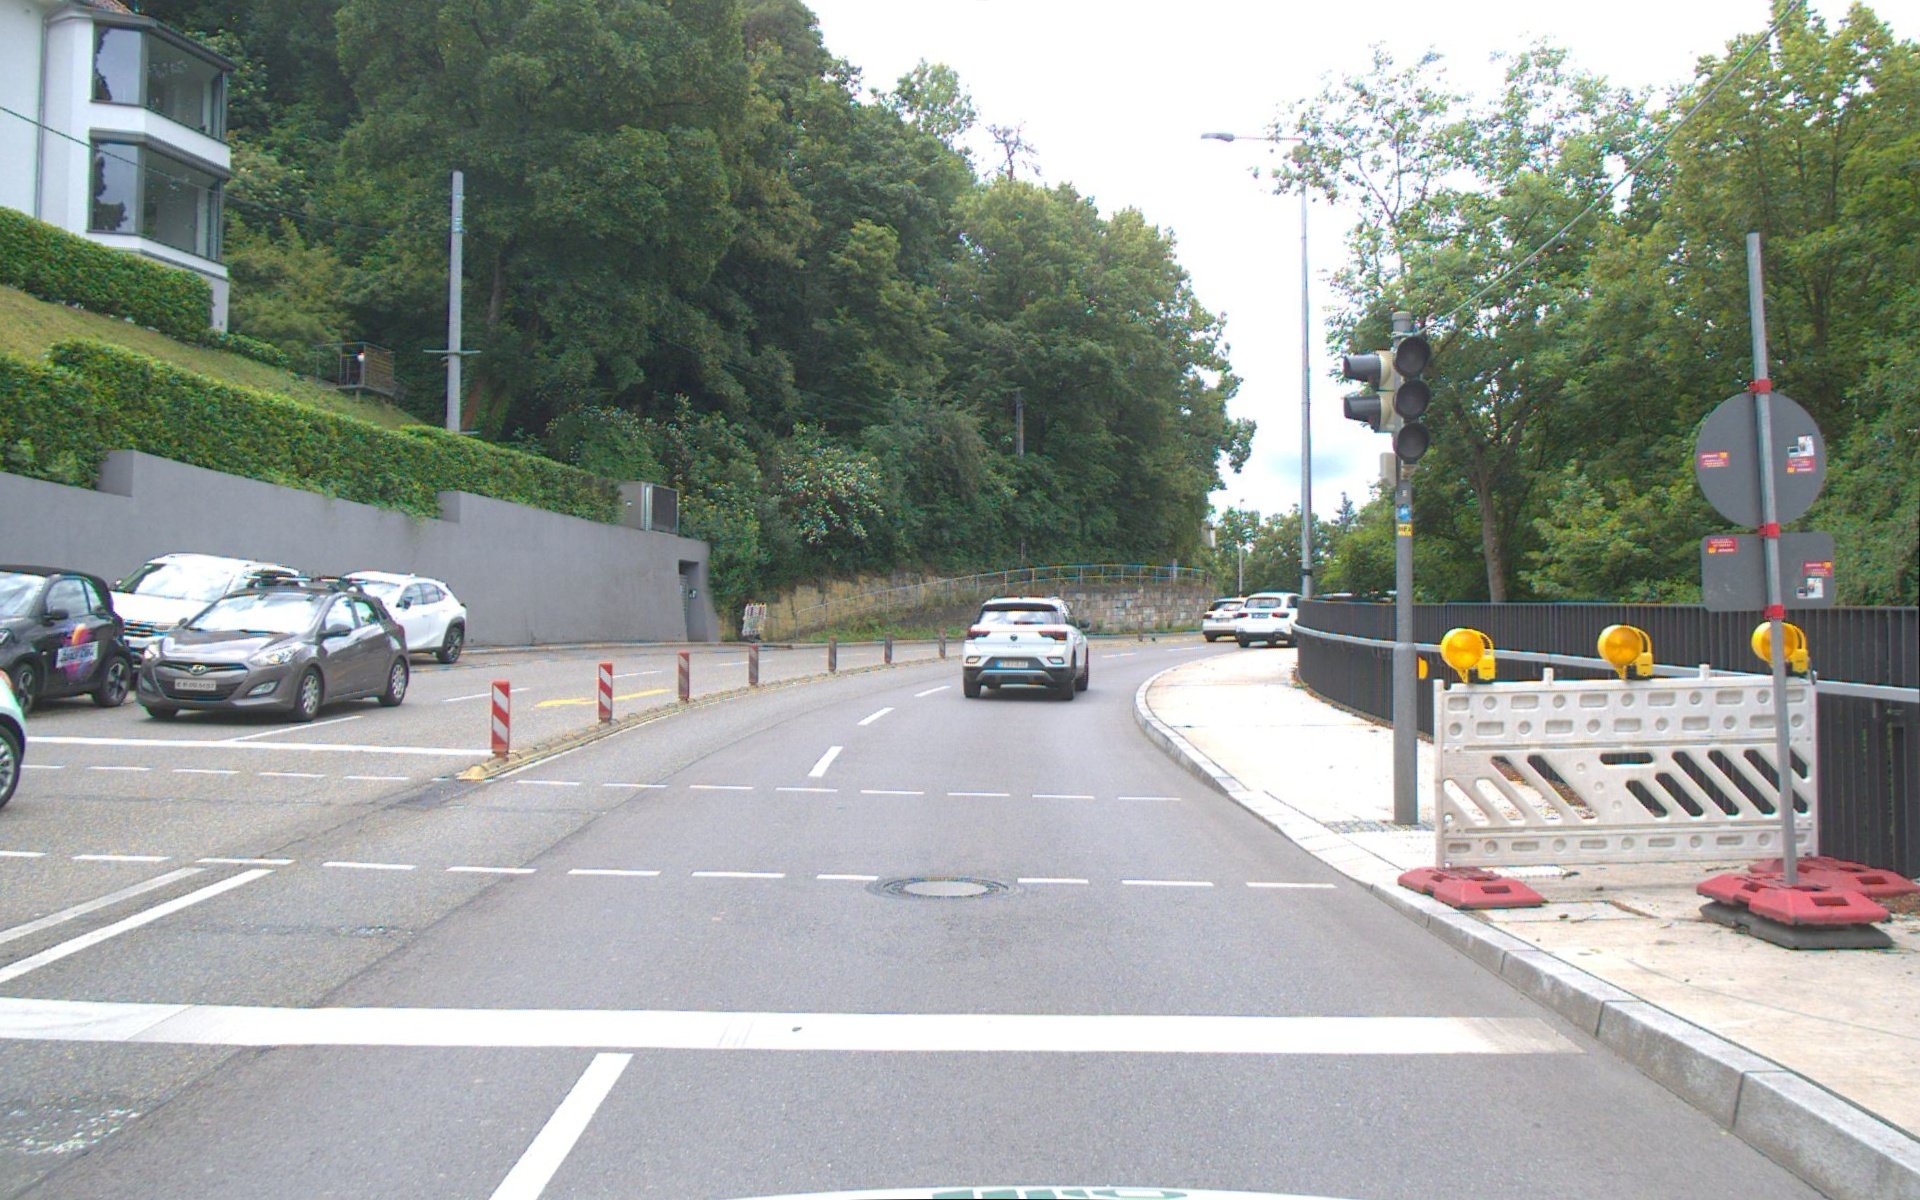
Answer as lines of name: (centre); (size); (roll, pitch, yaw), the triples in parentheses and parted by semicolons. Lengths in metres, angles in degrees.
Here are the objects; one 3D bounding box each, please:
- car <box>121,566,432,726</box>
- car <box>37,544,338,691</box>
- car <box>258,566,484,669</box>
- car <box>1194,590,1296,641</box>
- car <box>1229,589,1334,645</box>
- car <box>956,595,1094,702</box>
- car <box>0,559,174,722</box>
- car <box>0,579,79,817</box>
car: (-7.825, 0.499, 19.400); (1.675, 1.625, 4.208); (1, -1, 3)
car: (-10.681, 0.234, 23.329); (1.820, 1.761, 4.762); (3, 0, 1)
car: (-10.202, 0.306, 29.068); (1.794, 1.600, 4.478); (2, 0, 8)
car: (9.865, 0.538, 57.086); (1.875, 1.601, 3.983); (2, -1, 36)
car: (10.126, 0.552, 51.864); (1.957, 1.614, 3.990); (2, -1, 31)
car: (1.126, 0.724, 26.926); (1.827, 1.563, 3.807); (1, 0, 8)
car: (-10.495, 0.388, 18.729); (1.676, 1.600, 2.958); (4, 1, 0)
car: (-7.005, 0.590, 9.387); (1.675, 1.492, 3.663); (2, 0, 7)
